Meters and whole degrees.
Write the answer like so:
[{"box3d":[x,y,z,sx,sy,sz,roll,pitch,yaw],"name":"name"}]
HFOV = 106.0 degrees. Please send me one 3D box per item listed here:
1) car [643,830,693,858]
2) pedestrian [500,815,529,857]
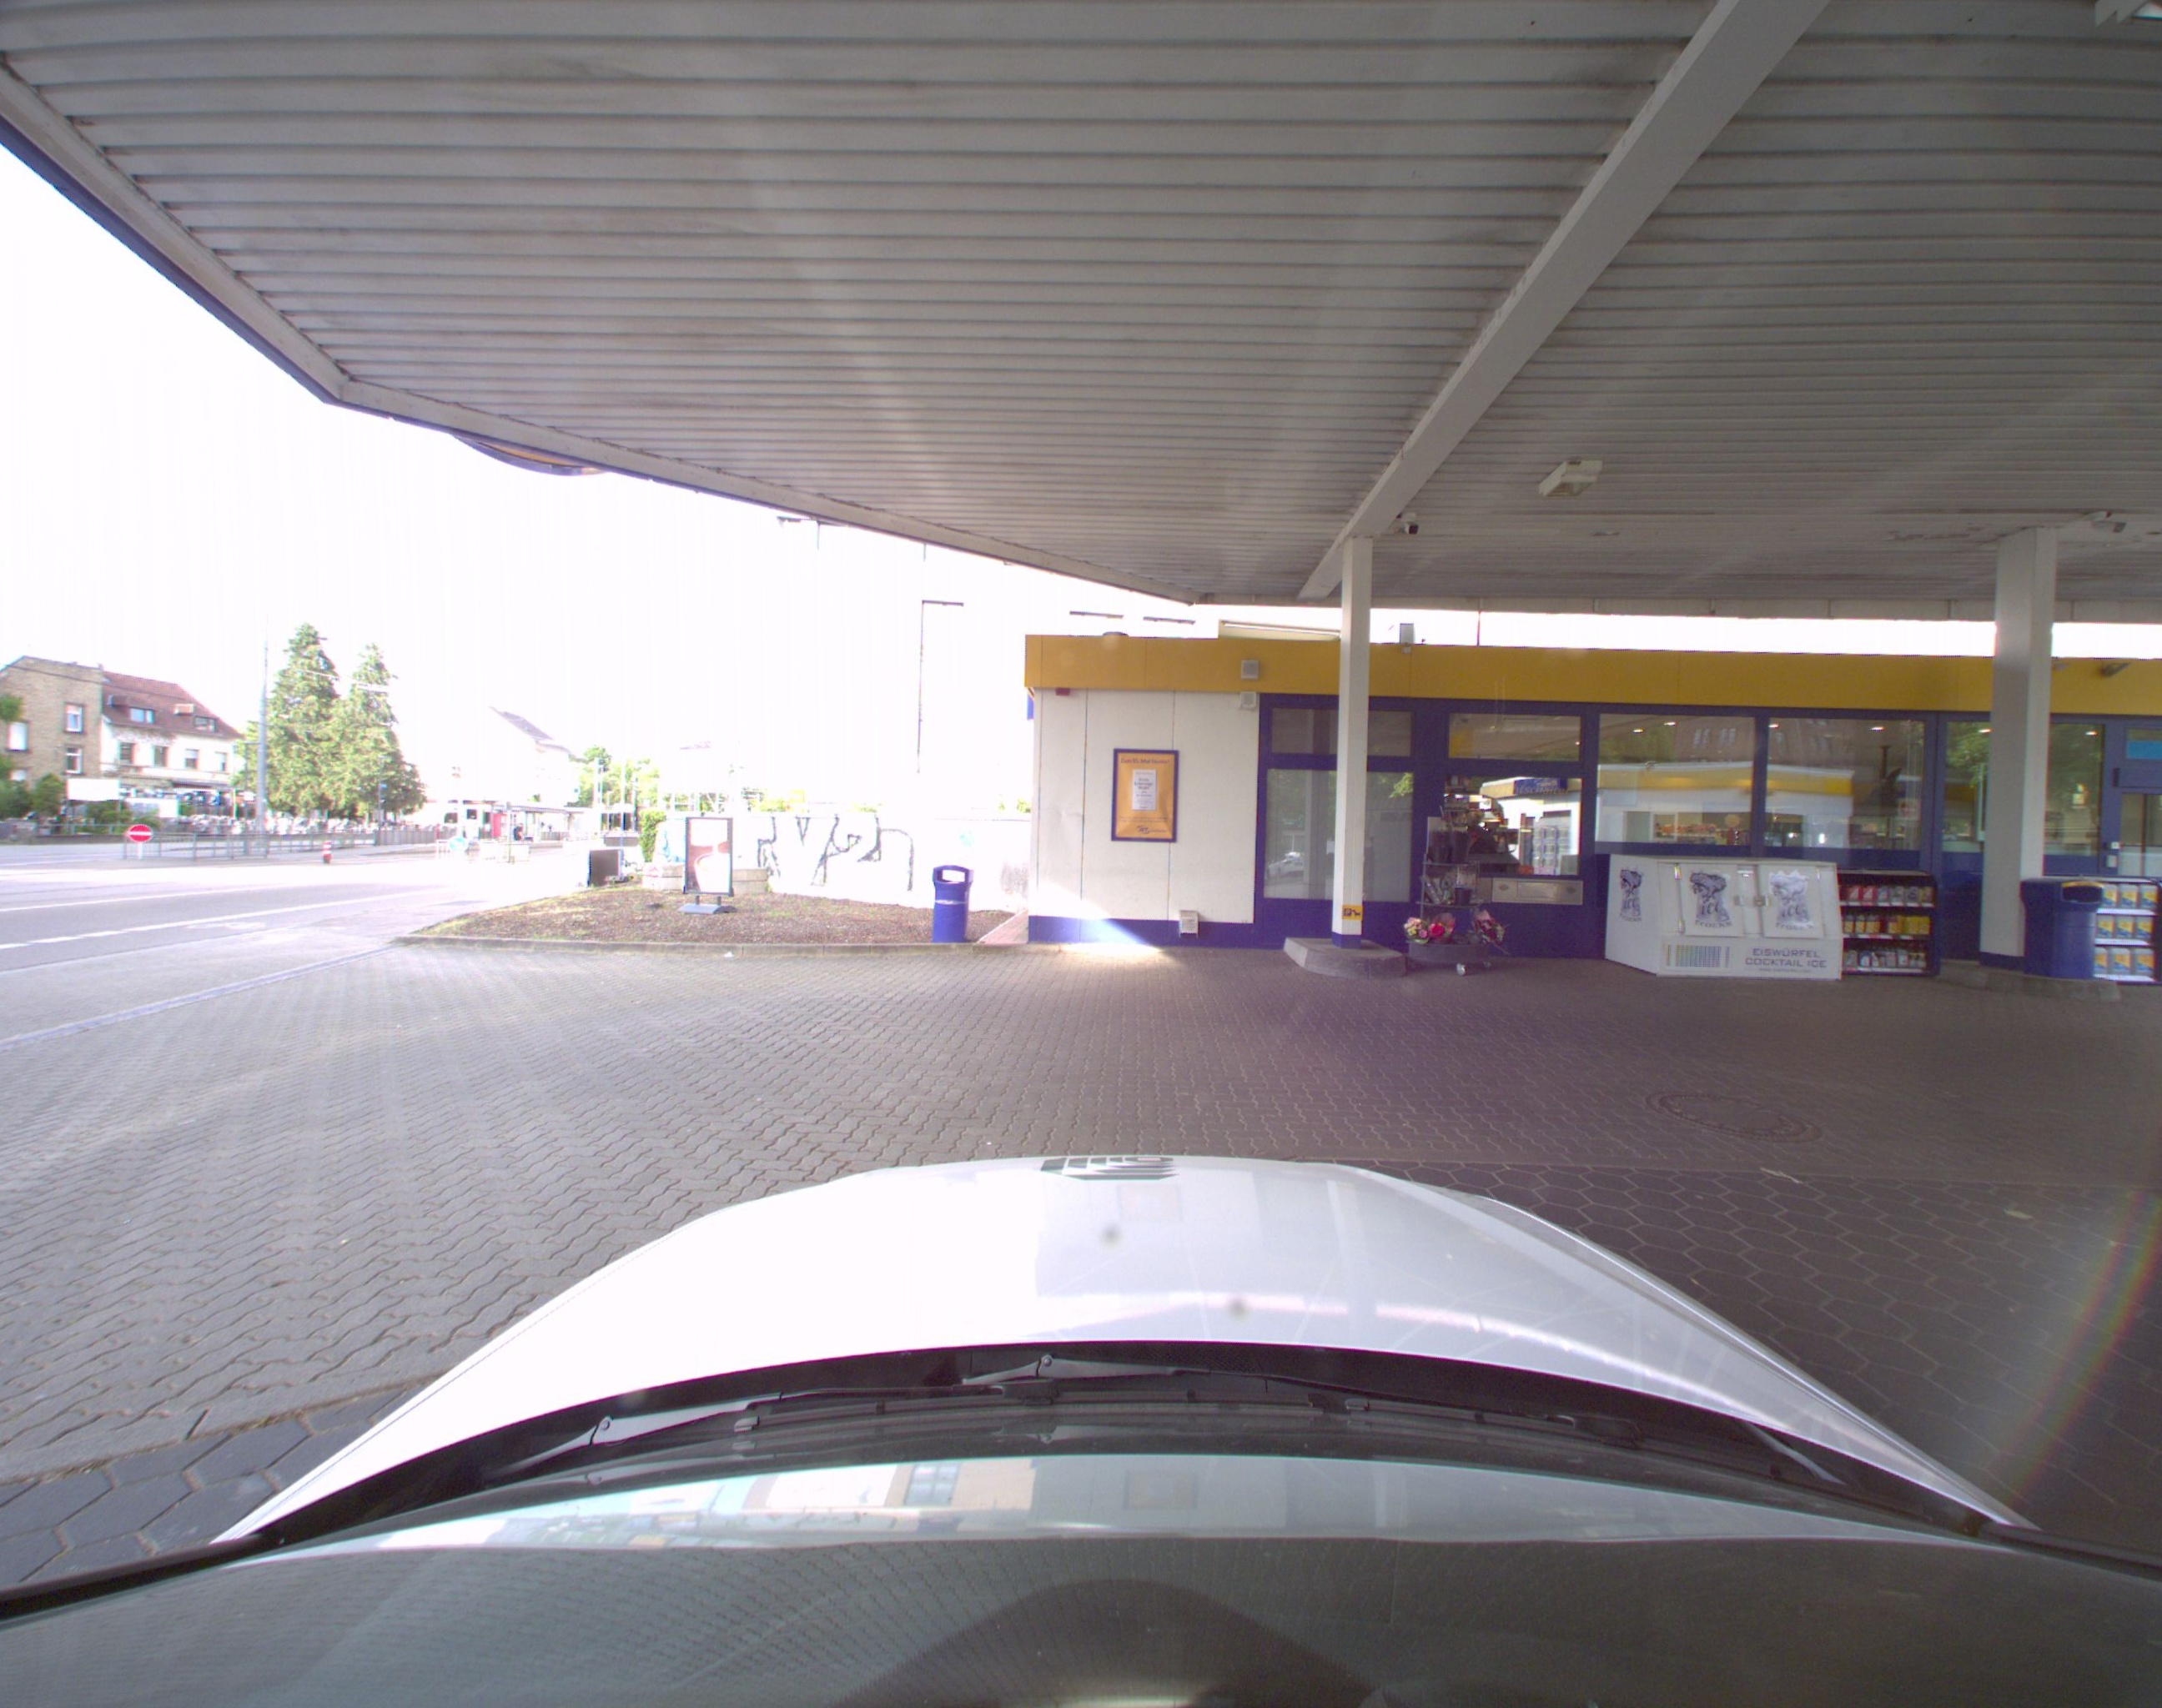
[{"box3d":[-24.461,-0.607,48.366,1.756,1.476,3.981,3,1,-14],"name":"car"},{"box3d":[-27.510,-0.863,39.570,0.802,2.014,0.851,0,-1,4],"name":"pedestrian"}]
